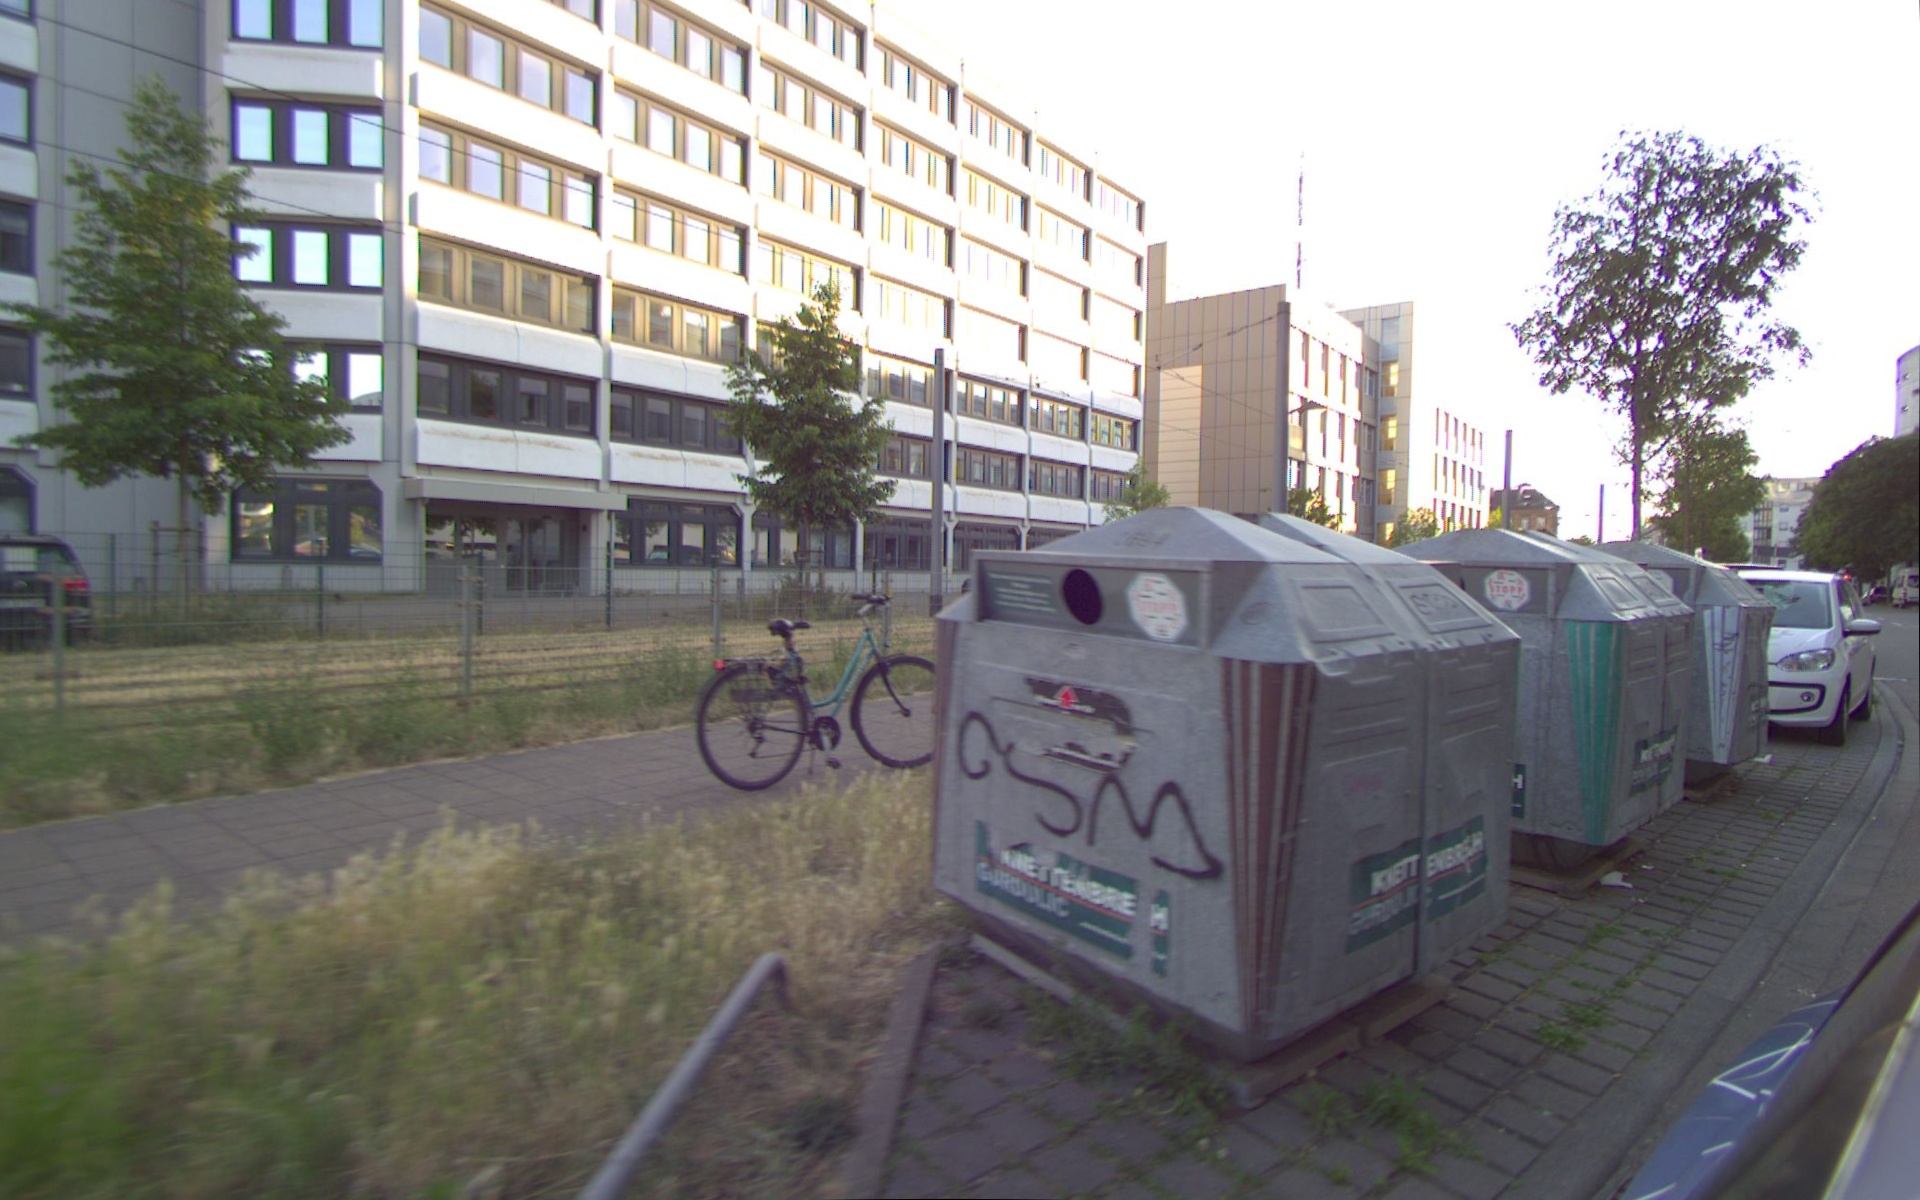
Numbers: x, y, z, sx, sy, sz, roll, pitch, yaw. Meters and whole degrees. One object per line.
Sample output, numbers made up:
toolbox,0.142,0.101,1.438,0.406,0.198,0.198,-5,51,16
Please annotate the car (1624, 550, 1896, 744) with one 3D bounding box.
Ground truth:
car,7.832,0.322,9.812,3.362,1.530,1.628,-1,3,-44

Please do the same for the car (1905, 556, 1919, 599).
car,61.126,-1.406,63.662,1.989,2.617,3.947,2,2,37

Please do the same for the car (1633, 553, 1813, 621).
car,23.465,-0.416,31.237,4.098,1.983,1.716,1,2,4

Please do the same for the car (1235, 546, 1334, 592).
car,15.080,-1.451,47.129,3.979,2.038,1.973,2,2,38

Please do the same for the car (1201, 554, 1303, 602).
car,13.045,-1.022,45.287,3.979,2.038,1.973,2,2,38

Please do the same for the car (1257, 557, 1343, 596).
car,18.232,-1.284,54.364,3.979,2.038,1.973,2,2,38

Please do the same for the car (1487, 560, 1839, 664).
car,10.237,0.136,14.968,3.926,1.393,1.718,1,2,2

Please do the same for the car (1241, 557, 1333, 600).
car,16.413,-1.098,50.859,3.979,2.038,1.973,2,2,38

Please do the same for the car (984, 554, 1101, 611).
car,3.065,-0.687,38.142,3.979,2.038,1.973,2,2,38

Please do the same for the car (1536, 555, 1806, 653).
car,13.720,0.037,19.732,3.928,1.778,1.716,1,2,4

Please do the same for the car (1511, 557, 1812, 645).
car,12.007,-0.013,17.513,3.926,1.393,1.718,1,2,2

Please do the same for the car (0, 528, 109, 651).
car,-13.970,-0.202,14.778,3.984,1.612,1.791,2,2,41

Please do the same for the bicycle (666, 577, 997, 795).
bicycle,-0.733,0.444,6.044,1.886,1.148,0.543,0,2,-29
